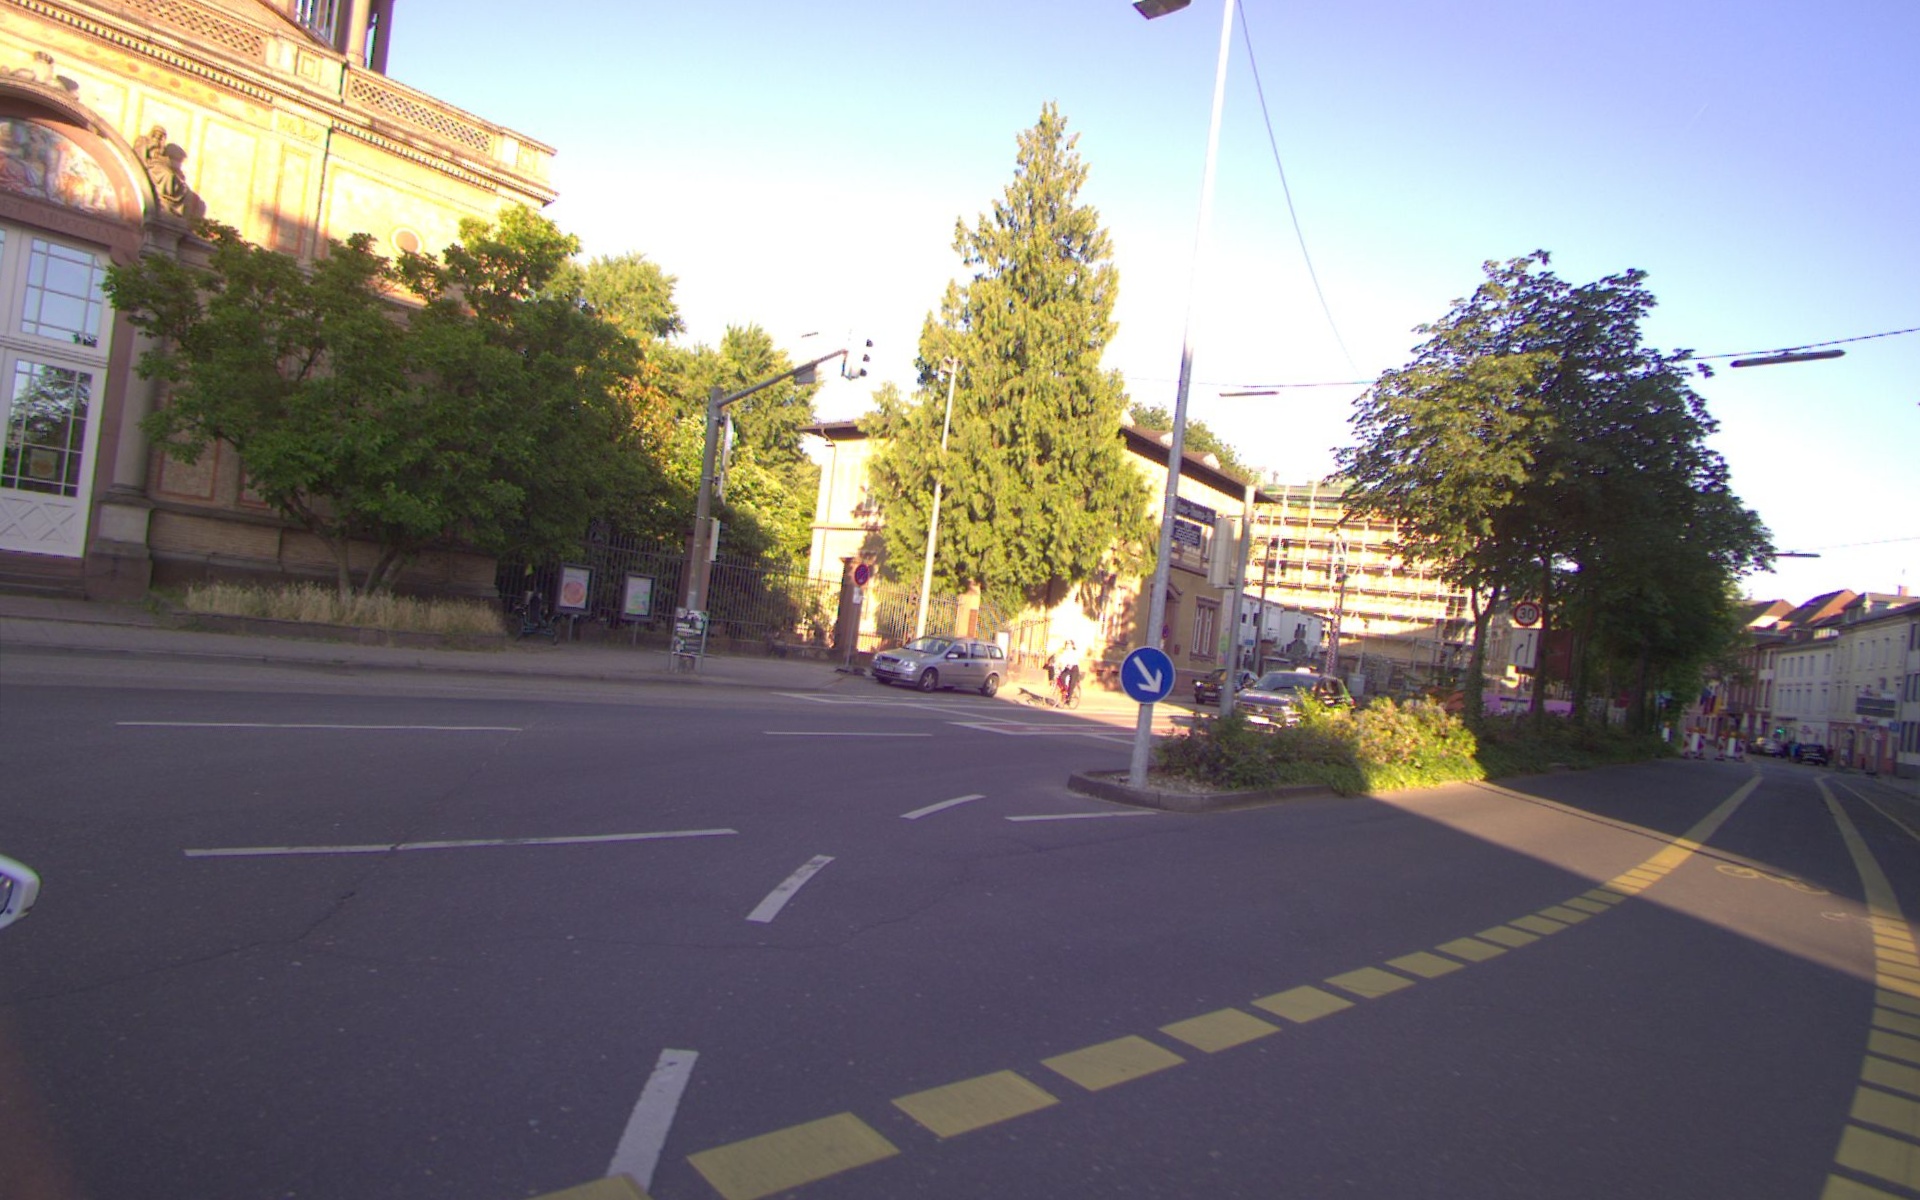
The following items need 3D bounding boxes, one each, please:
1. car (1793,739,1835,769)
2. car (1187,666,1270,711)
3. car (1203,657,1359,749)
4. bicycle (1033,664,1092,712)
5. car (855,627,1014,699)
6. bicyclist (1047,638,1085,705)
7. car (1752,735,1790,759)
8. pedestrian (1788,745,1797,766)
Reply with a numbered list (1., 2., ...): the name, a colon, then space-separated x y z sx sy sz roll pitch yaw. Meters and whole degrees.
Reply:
1. car: 65.167 11.764 76.835 1.689 1.870 3.820 6 -2 31
2. car: 11.235 3.718 41.889 1.808 1.508 4.063 5 -3 38
3. car: 7.037 2.257 21.800 1.808 1.631 4.063 5 -3 38
4. bicycle: 2.653 2.268 25.895 1.658 1.113 0.490 8 -3 -44
5. car: -0.586 1.681 26.342 1.690 1.461 4.183 6 -2 40
6. bicyclist: 2.742 1.855 26.041 0.517 1.663 0.659 7 -2 -43
7. car: 70.932 12.849 88.031 1.688 1.678 3.823 6 -2 28
8. pedestrian: 63.915 11.917 77.191 0.359 1.509 0.330 6 -1 31
